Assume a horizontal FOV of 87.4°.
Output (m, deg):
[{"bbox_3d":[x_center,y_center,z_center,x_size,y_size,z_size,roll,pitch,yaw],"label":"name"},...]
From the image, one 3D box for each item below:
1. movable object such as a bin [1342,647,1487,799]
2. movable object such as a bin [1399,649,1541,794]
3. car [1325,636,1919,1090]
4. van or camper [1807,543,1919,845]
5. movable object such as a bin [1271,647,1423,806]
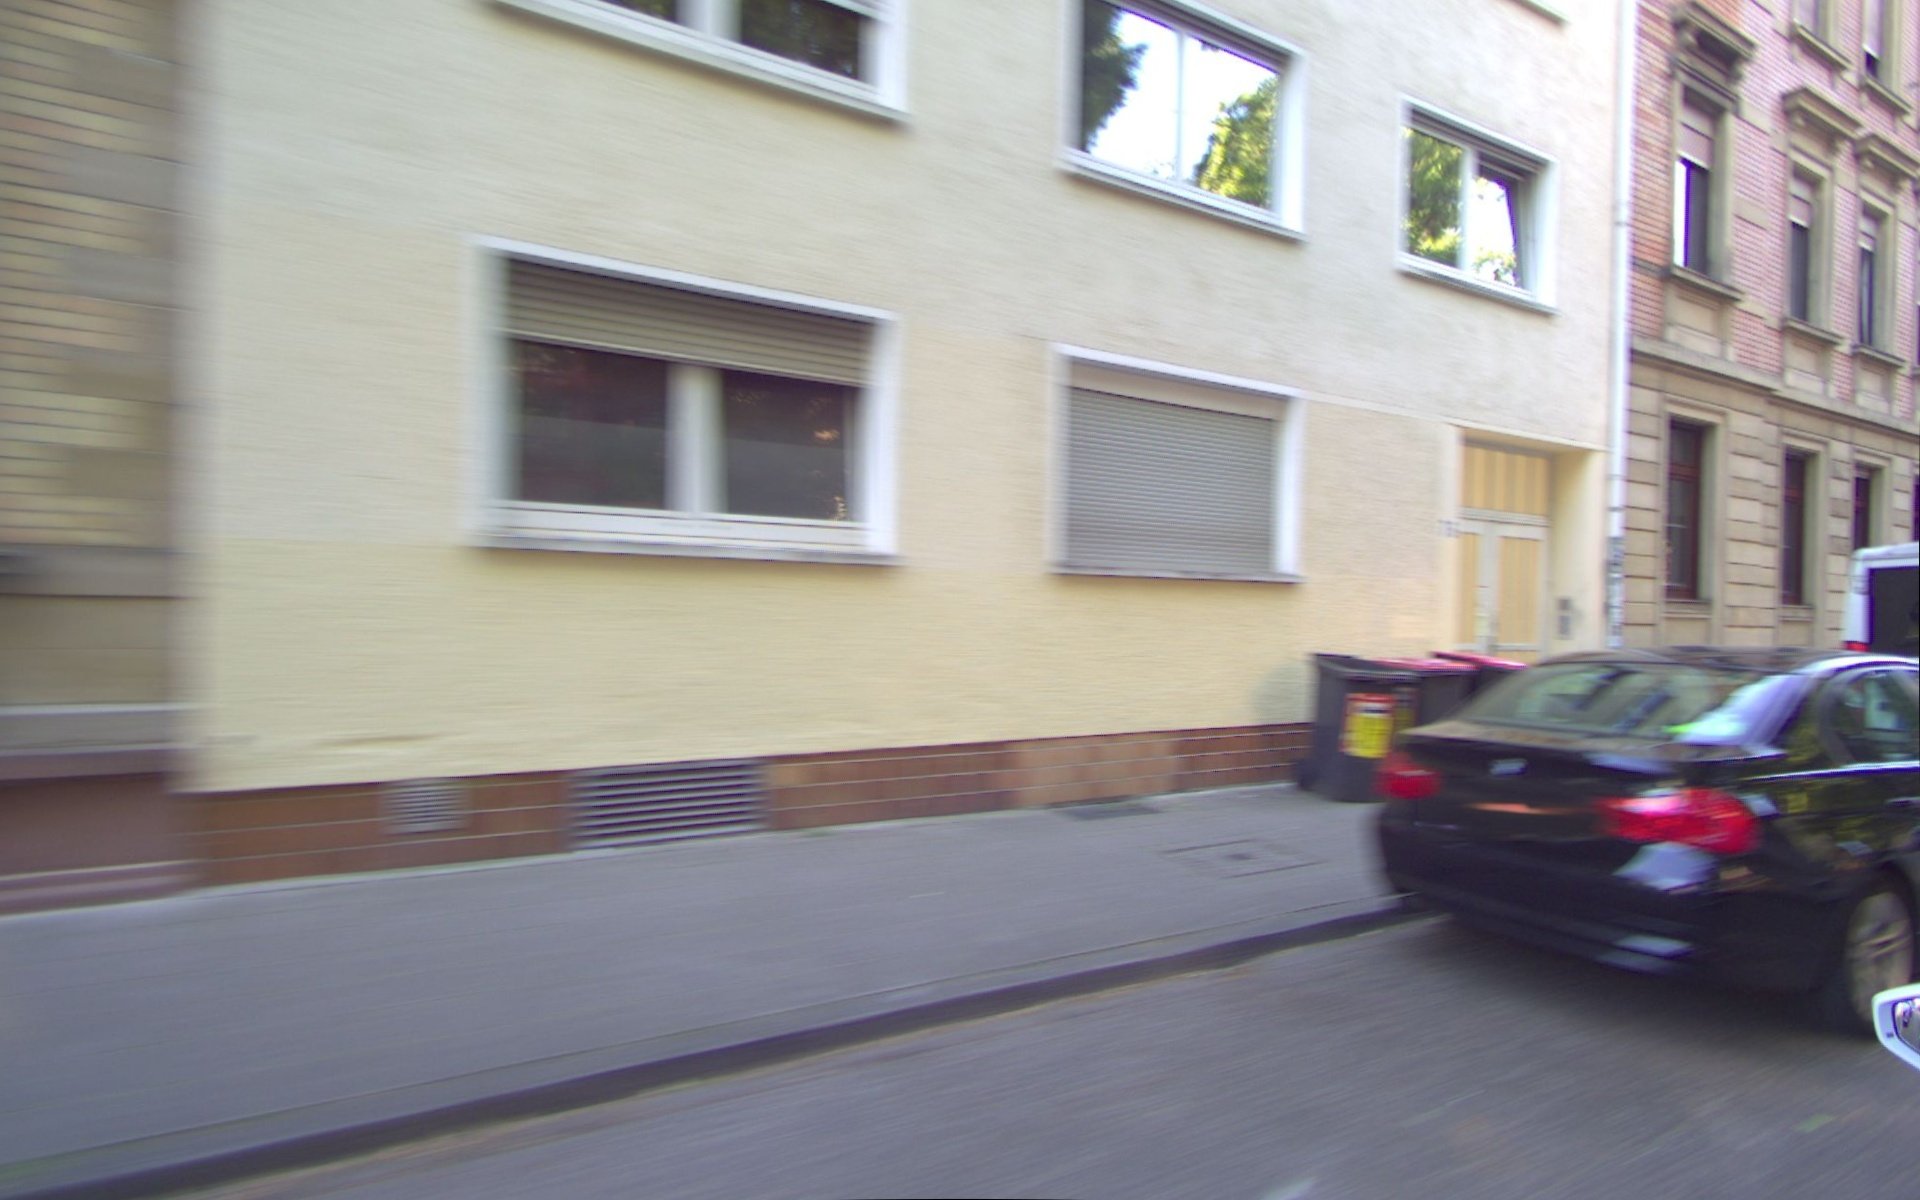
[{"bbox_3d":[3.630,0.955,8.057,0.657,1.102,0.798,3,-1,-26],"label":"movable object such as a bin"},{"bbox_3d":[4.249,0.984,8.399,0.657,1.102,0.798,3,-1,-26],"label":"movable object such as a bin"},{"bbox_3d":[3.973,0.896,4.961,4.262,1.420,1.724,1,-2,-29],"label":"car"},{"bbox_3d":[9.352,0.711,8.098,5.091,2.176,2.168,1,-2,-29],"label":"van or camper"},{"bbox_3d":[2.959,0.935,7.719,0.666,1.102,0.833,3,-1,-26],"label":"movable object such as a bin"}]
